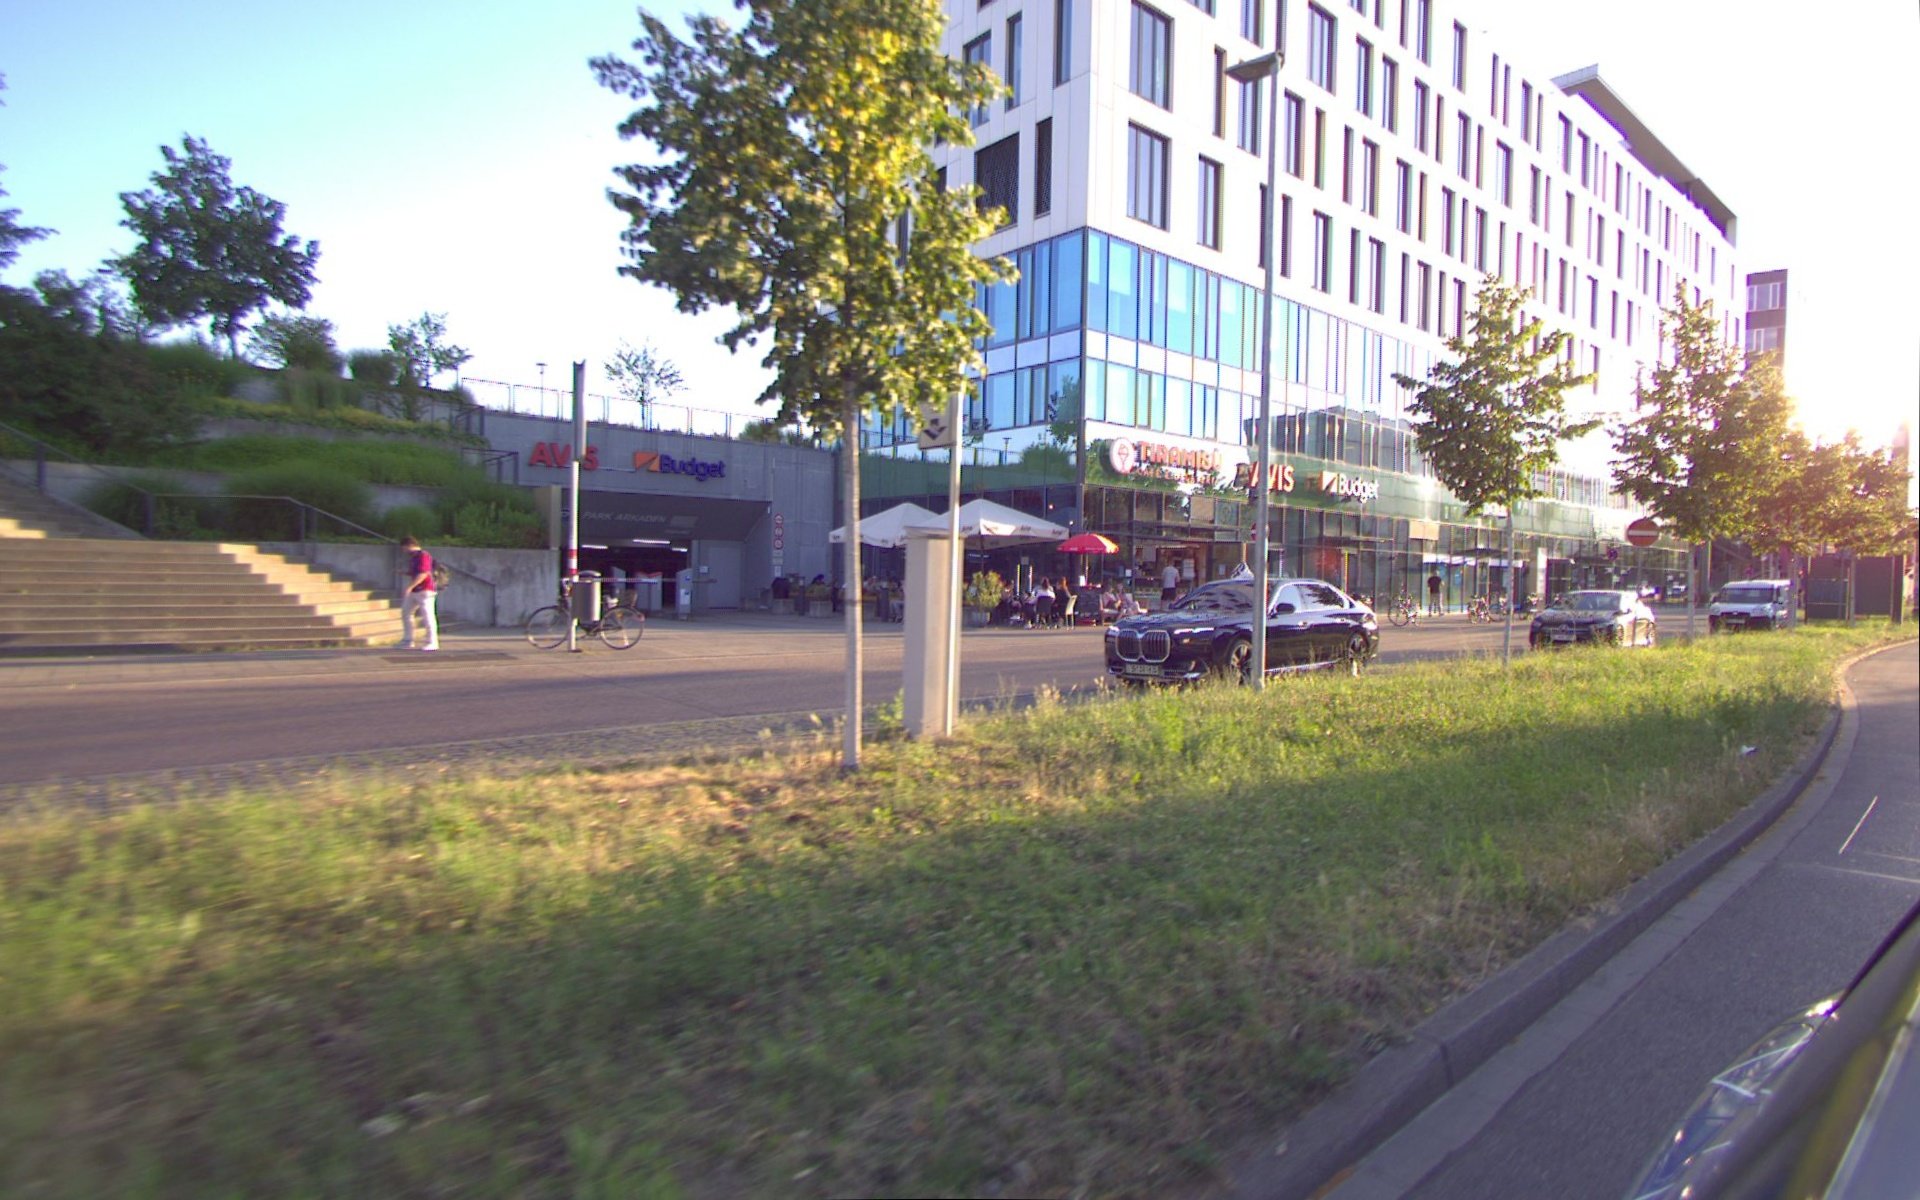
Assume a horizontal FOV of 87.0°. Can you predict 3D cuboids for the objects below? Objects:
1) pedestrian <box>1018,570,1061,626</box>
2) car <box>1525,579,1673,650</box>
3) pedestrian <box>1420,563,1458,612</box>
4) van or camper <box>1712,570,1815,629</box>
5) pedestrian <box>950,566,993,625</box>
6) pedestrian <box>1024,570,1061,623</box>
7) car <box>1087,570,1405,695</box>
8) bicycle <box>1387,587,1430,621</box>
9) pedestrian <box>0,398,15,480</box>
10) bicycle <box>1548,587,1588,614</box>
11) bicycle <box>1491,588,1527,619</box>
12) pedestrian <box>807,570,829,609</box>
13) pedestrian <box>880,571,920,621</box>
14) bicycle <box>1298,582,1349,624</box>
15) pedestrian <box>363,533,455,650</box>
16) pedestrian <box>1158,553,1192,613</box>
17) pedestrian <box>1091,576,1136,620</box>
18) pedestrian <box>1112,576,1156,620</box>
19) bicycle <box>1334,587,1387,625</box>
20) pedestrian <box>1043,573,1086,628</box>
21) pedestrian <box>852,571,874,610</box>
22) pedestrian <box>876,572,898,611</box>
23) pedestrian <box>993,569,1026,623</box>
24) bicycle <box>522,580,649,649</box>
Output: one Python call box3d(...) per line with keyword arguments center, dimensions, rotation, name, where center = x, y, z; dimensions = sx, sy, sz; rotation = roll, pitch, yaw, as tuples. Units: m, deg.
box3d(center=(1.932, -0.045, 24.653), dimensions=(0.671, 1.306, 0.783), rotation=(1, 3, -34), name="pedestrian")
box3d(center=(15.274, 0.293, 24.100), dimensions=(4.401, 1.519, 1.812), rotation=(0, 2, -41), name="car")
box3d(center=(19.017, -0.520, 40.186), dimensions=(0.931, 1.906, 1.028), rotation=(0, 1, -42), name="pedestrian")
box3d(center=(28.261, -0.010, 35.541), dimensions=(4.744, 1.944, 1.962), rotation=(0, 0, -40), name="van or camper")
box3d(center=(0.280, -0.119, 24.735), dimensions=(0.741, 1.385, 0.760), rotation=(2, 1, 38), name="pedestrian")
box3d(center=(2.122, -0.100, 25.928), dimensions=(0.681, 1.306, 0.621), rotation=(4, 3, 37), name="pedestrian")
box3d(center=(4.361, 0.375, 14.882), dimensions=(5.317, 1.519, 1.923), rotation=(0, 2, -41), name="car")
box3d(center=(14.543, 0.119, 32.783), dimensions=(0.596, 1.053, 2.041), rotation=(5, 3, 43), name="bicycle")
box3d(center=(-17.111, -2.822, 17.546), dimensions=(0.810, 1.399, 0.671), rotation=(0, 0, -9), name="pedestrian")
box3d(center=(25.395, 0.025, 42.259), dimensions=(1.878, 1.053, 0.532), rotation=(1, 3, -29), name="bicycle")
box3d(center=(20.768, 0.129, 38.286), dimensions=(2.110, 1.122, 0.388), rotation=(0, 4, -41), name="bicycle")
box3d(center=(-4.569, -0.334, 32.490), dimensions=(0.525, 1.230, 0.476), rotation=(0, 1, -34), name="pedestrian")
box3d(center=(-1.575, -0.123, 26.599), dimensions=(0.757, 1.281, 0.744), rotation=(0, 1, -40), name="pedestrian")
box3d(center=(10.717, 0.084, 29.825), dimensions=(1.843, 1.147, 0.640), rotation=(0, 3, -45), name="bicycle")
box3d(center=(-8.205, -0.137, 15.075), dimensions=(1.060, 1.675, 0.696), rotation=(0, 1, -41), name="pedestrian")
box3d(center=(6.564, -0.519, 30.869), dimensions=(0.670, 1.781, 0.664), rotation=(1, 3, -23), name="pedestrian")
box3d(center=(4.199, -0.067, 27.741), dimensions=(0.672, 1.139, 0.975), rotation=(0, 3, -40), name="pedestrian")
box3d(center=(4.846, -0.062, 28.169), dimensions=(0.672, 1.139, 0.975), rotation=(0, 3, -40), name="pedestrian")
box3d(center=(12.446, 0.180, 31.399), dimensions=(2.039, 1.076, 0.684), rotation=(0, 3, -44), name="bicycle")
box3d(center=(2.595, -0.004, 25.133), dimensions=(0.671, 1.306, 0.778), rotation=(1, 3, -34), name="pedestrian")
box3d(center=(-3.103, -0.294, 32.312), dimensions=(0.525, 1.230, 0.476), rotation=(0, 1, -34), name="pedestrian")
box3d(center=(-2.341, -0.280, 32.362), dimensions=(0.525, 1.230, 0.476), rotation=(0, 1, -34), name="pedestrian")
box3d(center=(1.246, -0.116, 25.489), dimensions=(0.654, 1.306, 0.681), rotation=(3, 3, 17), name="pedestrian")
box3d(center=(-5.955, 0.221, 16.140), dimensions=(1.872, 1.056, 0.546), rotation=(0, 1, -21), name="bicycle")
